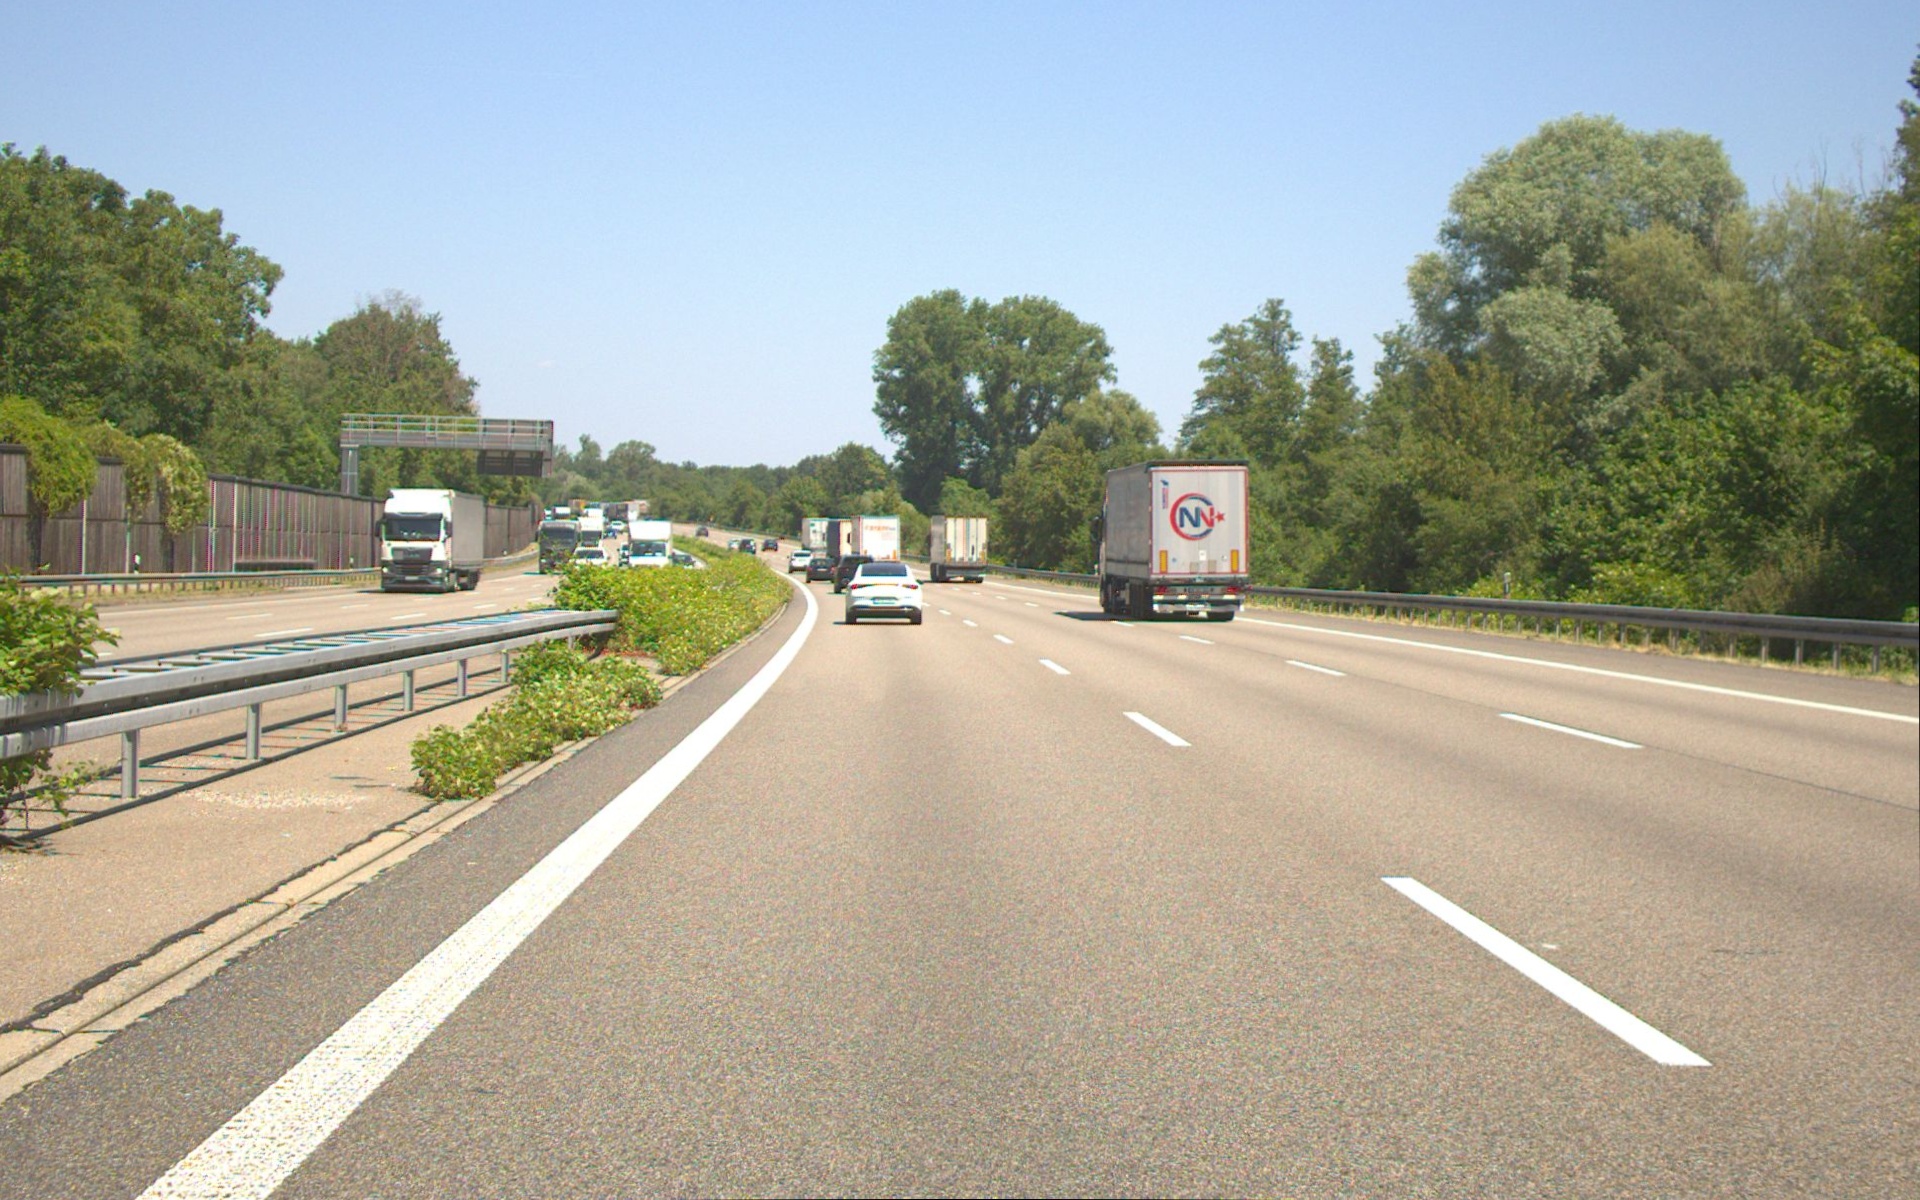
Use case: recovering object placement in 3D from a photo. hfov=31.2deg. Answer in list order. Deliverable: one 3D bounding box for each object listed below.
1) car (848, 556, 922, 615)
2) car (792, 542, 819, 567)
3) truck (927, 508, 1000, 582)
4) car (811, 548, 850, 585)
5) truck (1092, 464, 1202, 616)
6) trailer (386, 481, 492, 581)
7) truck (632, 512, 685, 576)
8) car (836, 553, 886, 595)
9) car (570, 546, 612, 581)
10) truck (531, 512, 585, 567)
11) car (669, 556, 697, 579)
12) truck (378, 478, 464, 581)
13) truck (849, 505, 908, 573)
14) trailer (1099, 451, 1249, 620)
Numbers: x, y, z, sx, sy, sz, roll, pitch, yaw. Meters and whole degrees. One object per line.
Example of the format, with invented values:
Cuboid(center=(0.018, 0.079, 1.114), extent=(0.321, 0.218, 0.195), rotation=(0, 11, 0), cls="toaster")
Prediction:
Cuboid(center=(-1.781, -0.364, 82.476), extent=(1.715, 1.365, 3.375), rotation=(1, 1, 0), cls="car")
Cuboid(center=(-11.242, -3.350, 250.391), extent=(1.723, 1.777, 4.001), rotation=(1, 1, -6), cls="car")
Cuboid(center=(0.147, -3.305, 206.701), extent=(3.492, 4.296, 10.990), rotation=(1, 1, -4), cls="truck")
Cuboid(center=(-7.441, -1.936, 197.229), extent=(1.993, 2.007, 4.001), rotation=(1, 1, -6), cls="car")
Cuboid(center=(5.427, -1.754, 100.470), extent=(2.605, 4.272, 5.436), rotation=(1, 1, -2), cls="truck")
Cuboid(center=(-21.401, -2.820, 141.873), extent=(2.729, 3.896, 13.763), rotation=(1, 1, -2), cls="trailer")
Cuboid(center=(-15.049, -2.803, 171.954), extent=(2.193, 3.104, 8.535), rotation=(1, 1, -2), cls="truck")
Cuboid(center=(-4.397, -1.167, 152.383), extent=(1.993, 1.766, 4.001), rotation=(1, 1, -4), cls="car")
Cuboid(center=(-19.479, -1.924, 181.411), extent=(1.867, 1.814, 4.817), rotation=(1, 1, -2), cls="car")
Cuboid(center=(-27.116, -4.086, 232.297), extent=(2.870, 3.593, 9.953), rotation=(1, 1, -3), cls="truck")
Cuboid(center=(-17.417, -2.044, 216.253), extent=(1.625, 1.385, 3.914), rotation=(1, 1, -3), cls="car")
Cuboid(center=(-21.150, -2.755, 135.063), extent=(2.686, 3.881, 5.574), rotation=(1, 1, -3), cls="truck")
Cuboid(center=(-5.394, -3.990, 225.290), extent=(3.359, 4.296, 10.830), rotation=(1, 1, -4), cls="truck")
Cuboid(center=(5.690, -1.733, 93.857), extent=(2.624, 4.246, 14.062), rotation=(1, 1, -2), cls="trailer")
